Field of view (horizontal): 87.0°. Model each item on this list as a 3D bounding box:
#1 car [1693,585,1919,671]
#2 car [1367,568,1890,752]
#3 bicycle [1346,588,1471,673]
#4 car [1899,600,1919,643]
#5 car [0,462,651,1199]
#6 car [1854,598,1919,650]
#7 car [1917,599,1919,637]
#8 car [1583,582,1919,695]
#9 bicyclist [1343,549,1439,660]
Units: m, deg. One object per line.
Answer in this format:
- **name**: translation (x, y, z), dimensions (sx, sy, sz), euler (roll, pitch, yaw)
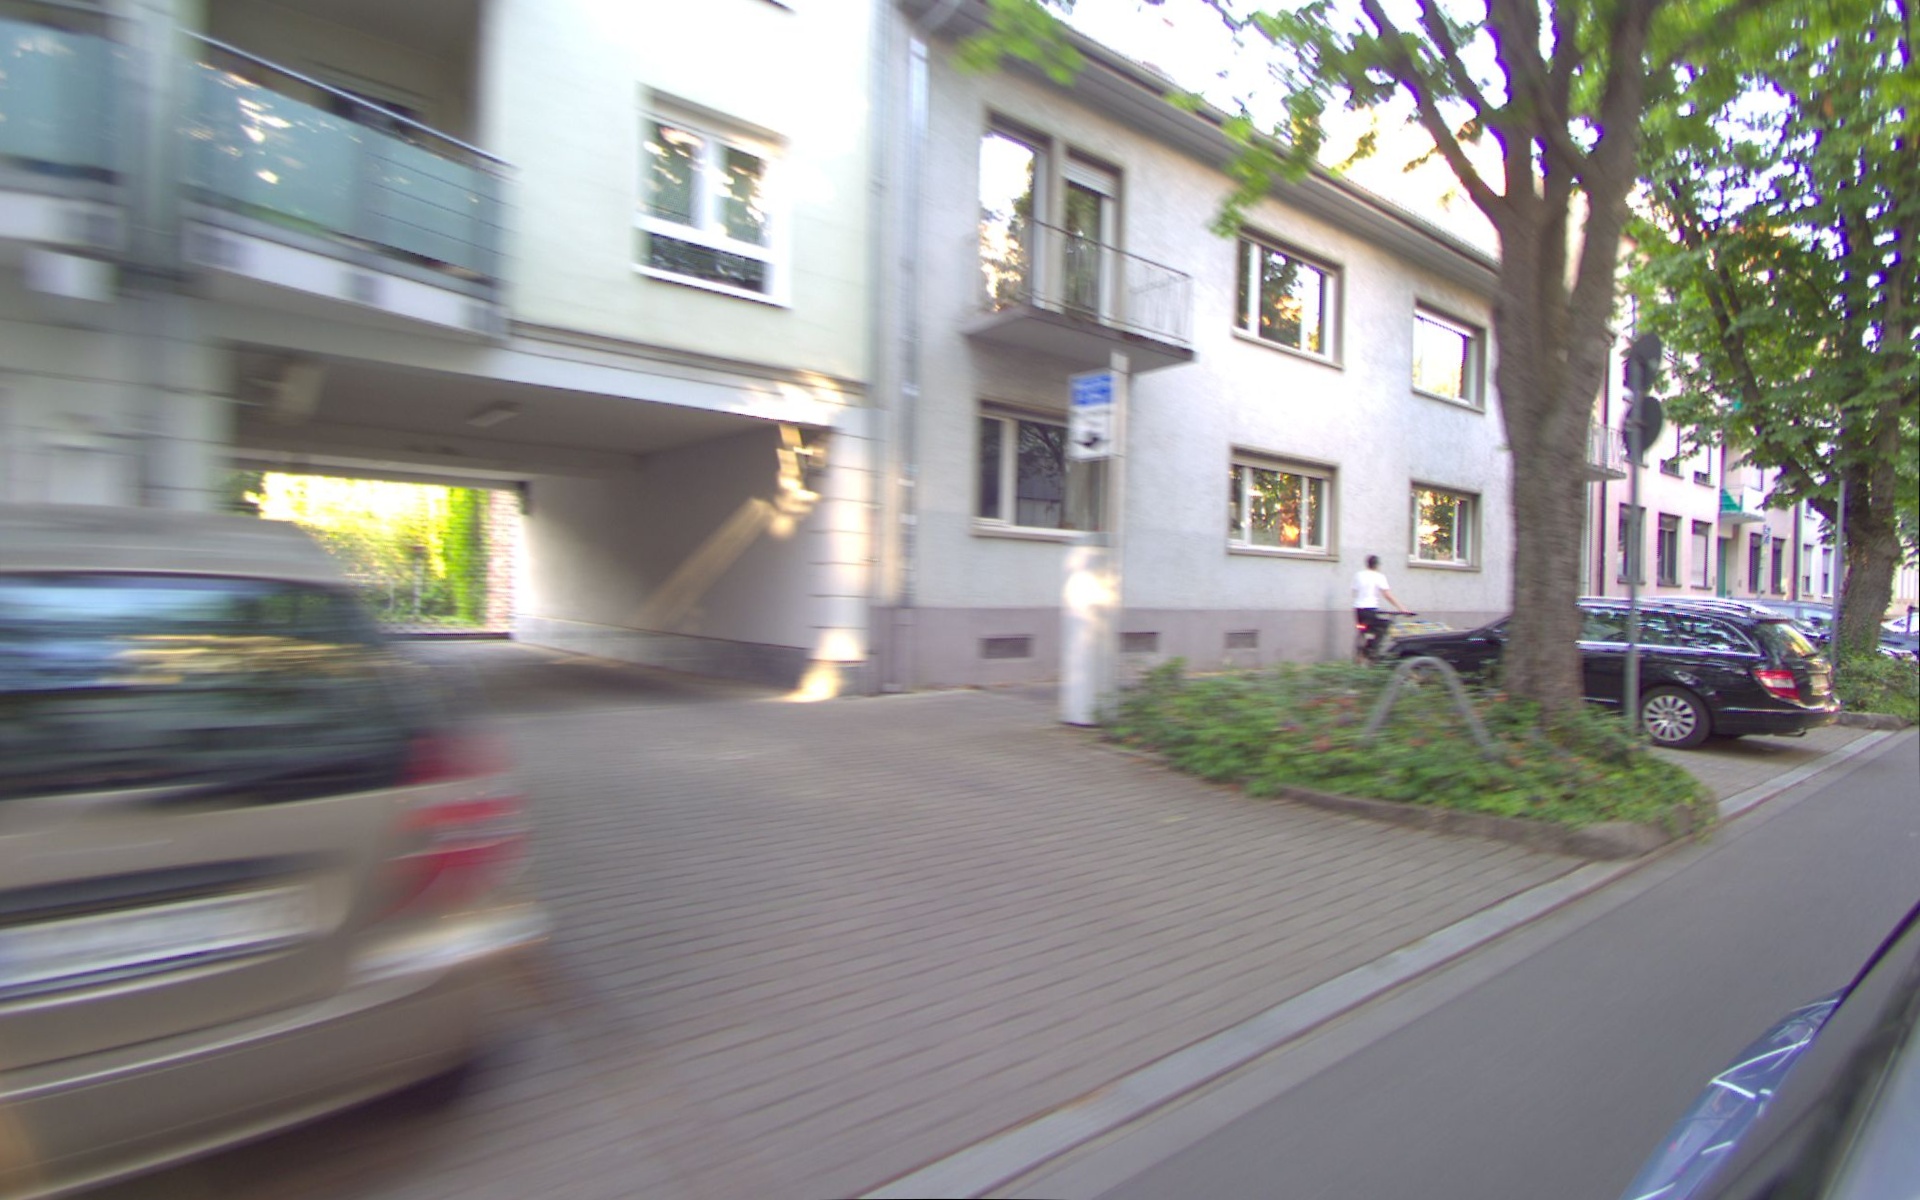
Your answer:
- **car**: translation (18.710, 0.564, 21.352), dimensions (2.004, 1.465, 4.856), euler (1, 3, -37)
- **car**: translation (7.230, 0.485, 11.451), dimensions (1.973, 1.444, 4.477), euler (1, 4, -35)
- **bicycle**: translation (6.975, 0.430, 15.606), dimensions (0.621, 1.178, 3.346), euler (2, 1, 44)
- **car**: translation (35.552, 0.811, 34.568), dimensions (1.952, 1.516, 4.886), euler (1, 1, -39)
- **car**: translation (-2.744, 0.430, 3.351), dimensions (1.882, 1.604, 3.980), euler (0, 4, -40)
- **car**: translation (29.250, 0.742, 29.907), dimensions (1.767, 1.509, 4.087), euler (1, 1, -42)
- **car**: translation (38.791, 0.776, 38.137), dimensions (1.684, 1.428, 3.840), euler (1, 2, -43)
- **car**: translation (13.736, 0.555, 17.406), dimensions (1.963, 1.405, 4.693), euler (1, 4, -38)
- **bicyclist**: translation (6.614, 0.049, 15.519), dimensions (1.117, 1.624, 0.971), euler (0, 1, -44)
